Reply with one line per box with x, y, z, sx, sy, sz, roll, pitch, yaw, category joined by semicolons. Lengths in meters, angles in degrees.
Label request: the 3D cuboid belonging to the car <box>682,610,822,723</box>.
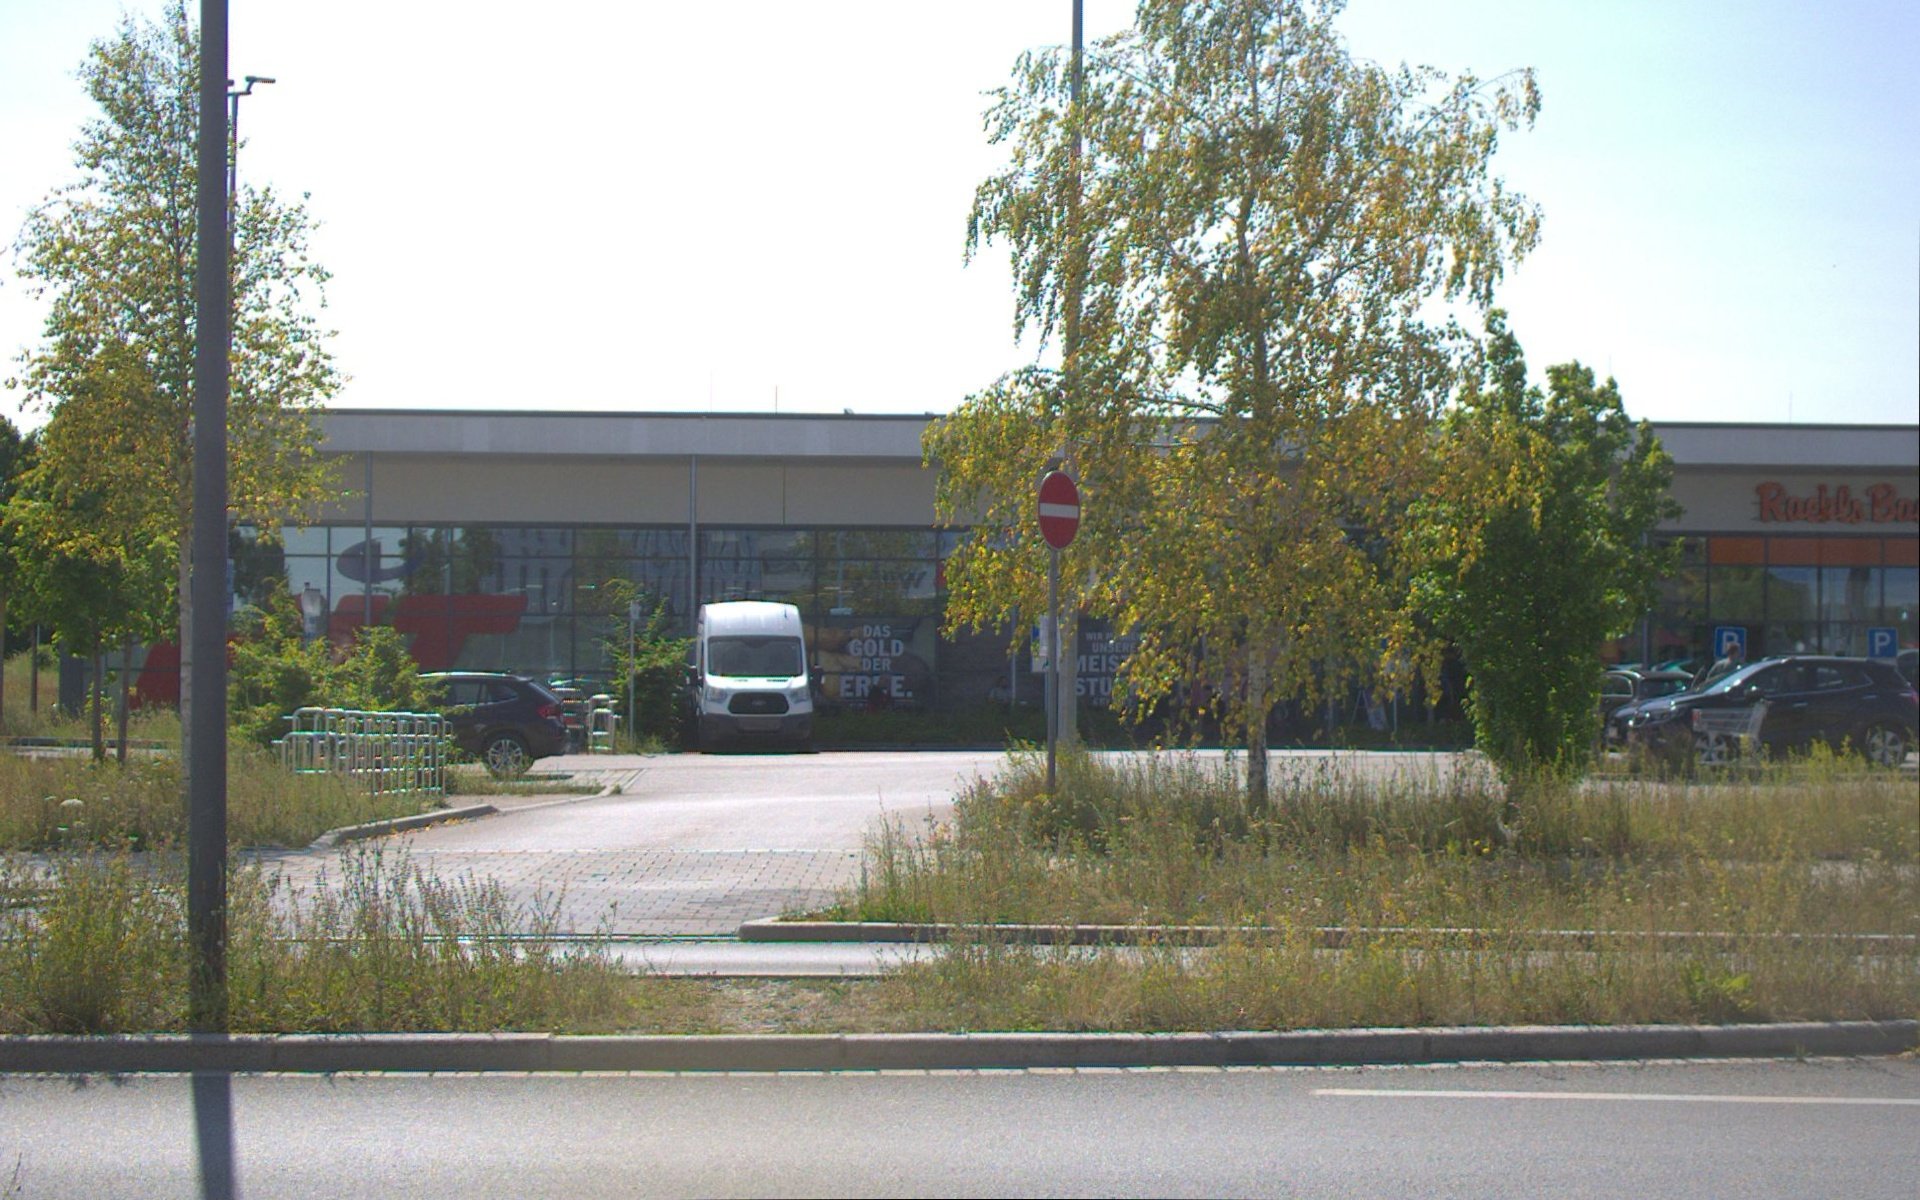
-3.891;1.200;63.195;2.222;1.970;6.697;0;-1;-6;car

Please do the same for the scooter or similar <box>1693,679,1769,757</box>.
10.826;1.650;48.292;0.943;1.076;0.652;0;-1;2;scooter or similar

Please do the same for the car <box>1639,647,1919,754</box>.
11.965;1.453;50.000;3.793;1.503;1.732;0;-1;-2;car

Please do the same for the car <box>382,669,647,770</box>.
-6.624;1.782;51.359;3.831;1.418;1.772;1;-1;-6;car
